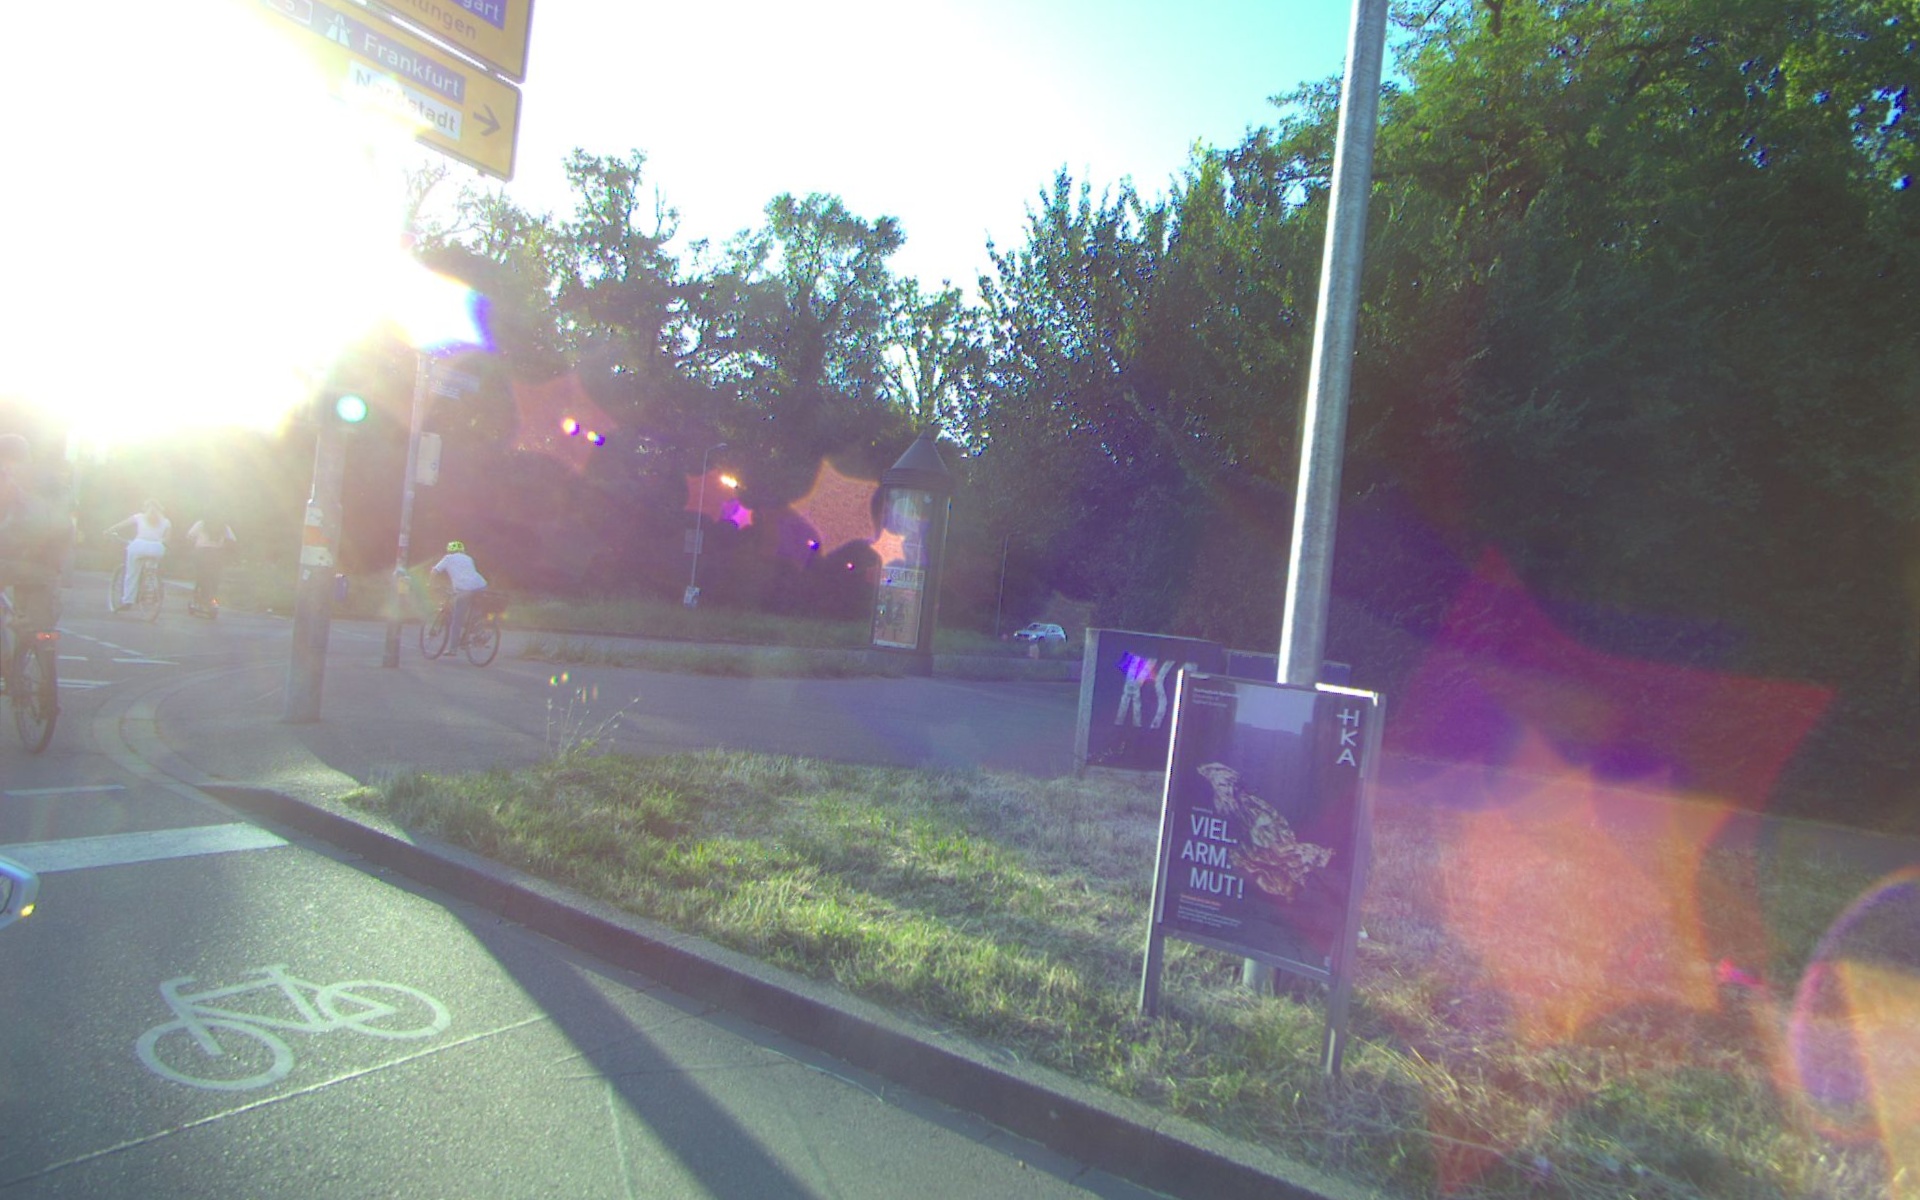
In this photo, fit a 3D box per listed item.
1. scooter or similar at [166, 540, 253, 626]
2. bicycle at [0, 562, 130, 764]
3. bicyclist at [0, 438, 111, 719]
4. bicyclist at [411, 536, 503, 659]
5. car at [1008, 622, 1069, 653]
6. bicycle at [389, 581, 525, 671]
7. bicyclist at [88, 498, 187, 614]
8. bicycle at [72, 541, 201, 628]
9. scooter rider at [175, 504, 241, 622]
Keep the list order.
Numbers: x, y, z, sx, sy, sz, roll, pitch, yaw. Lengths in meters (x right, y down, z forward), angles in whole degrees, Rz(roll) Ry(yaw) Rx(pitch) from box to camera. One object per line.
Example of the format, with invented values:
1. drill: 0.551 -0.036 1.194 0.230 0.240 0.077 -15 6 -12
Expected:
1. scooter or similar: -11.902 -0.274 15.940 1.399 1.204 0.562 6 0 33
2. bicycle: -6.058 0.332 6.314 1.795 1.075 0.700 6 -1 32
3. bicyclist: -6.045 -0.146 6.346 0.785 1.686 0.699 6 -1 32
4. bicyclist: -6.982 -0.031 13.963 0.882 1.589 0.555 6 0 21
5. car: 5.121 2.420 65.039 1.799 1.632 4.629 4 -3 34
6. bicycle: -6.982 0.355 13.956 1.769 1.027 0.565 6 0 21
7. bicyclist: -11.982 -0.635 14.666 0.842 1.536 0.760 7 0 32
8. bicycle: -12.009 -0.237 14.654 1.983 1.019 0.772 6 -1 32
9. scooter rider: -11.934 -0.581 15.976 0.497 1.788 0.566 6 0 32
